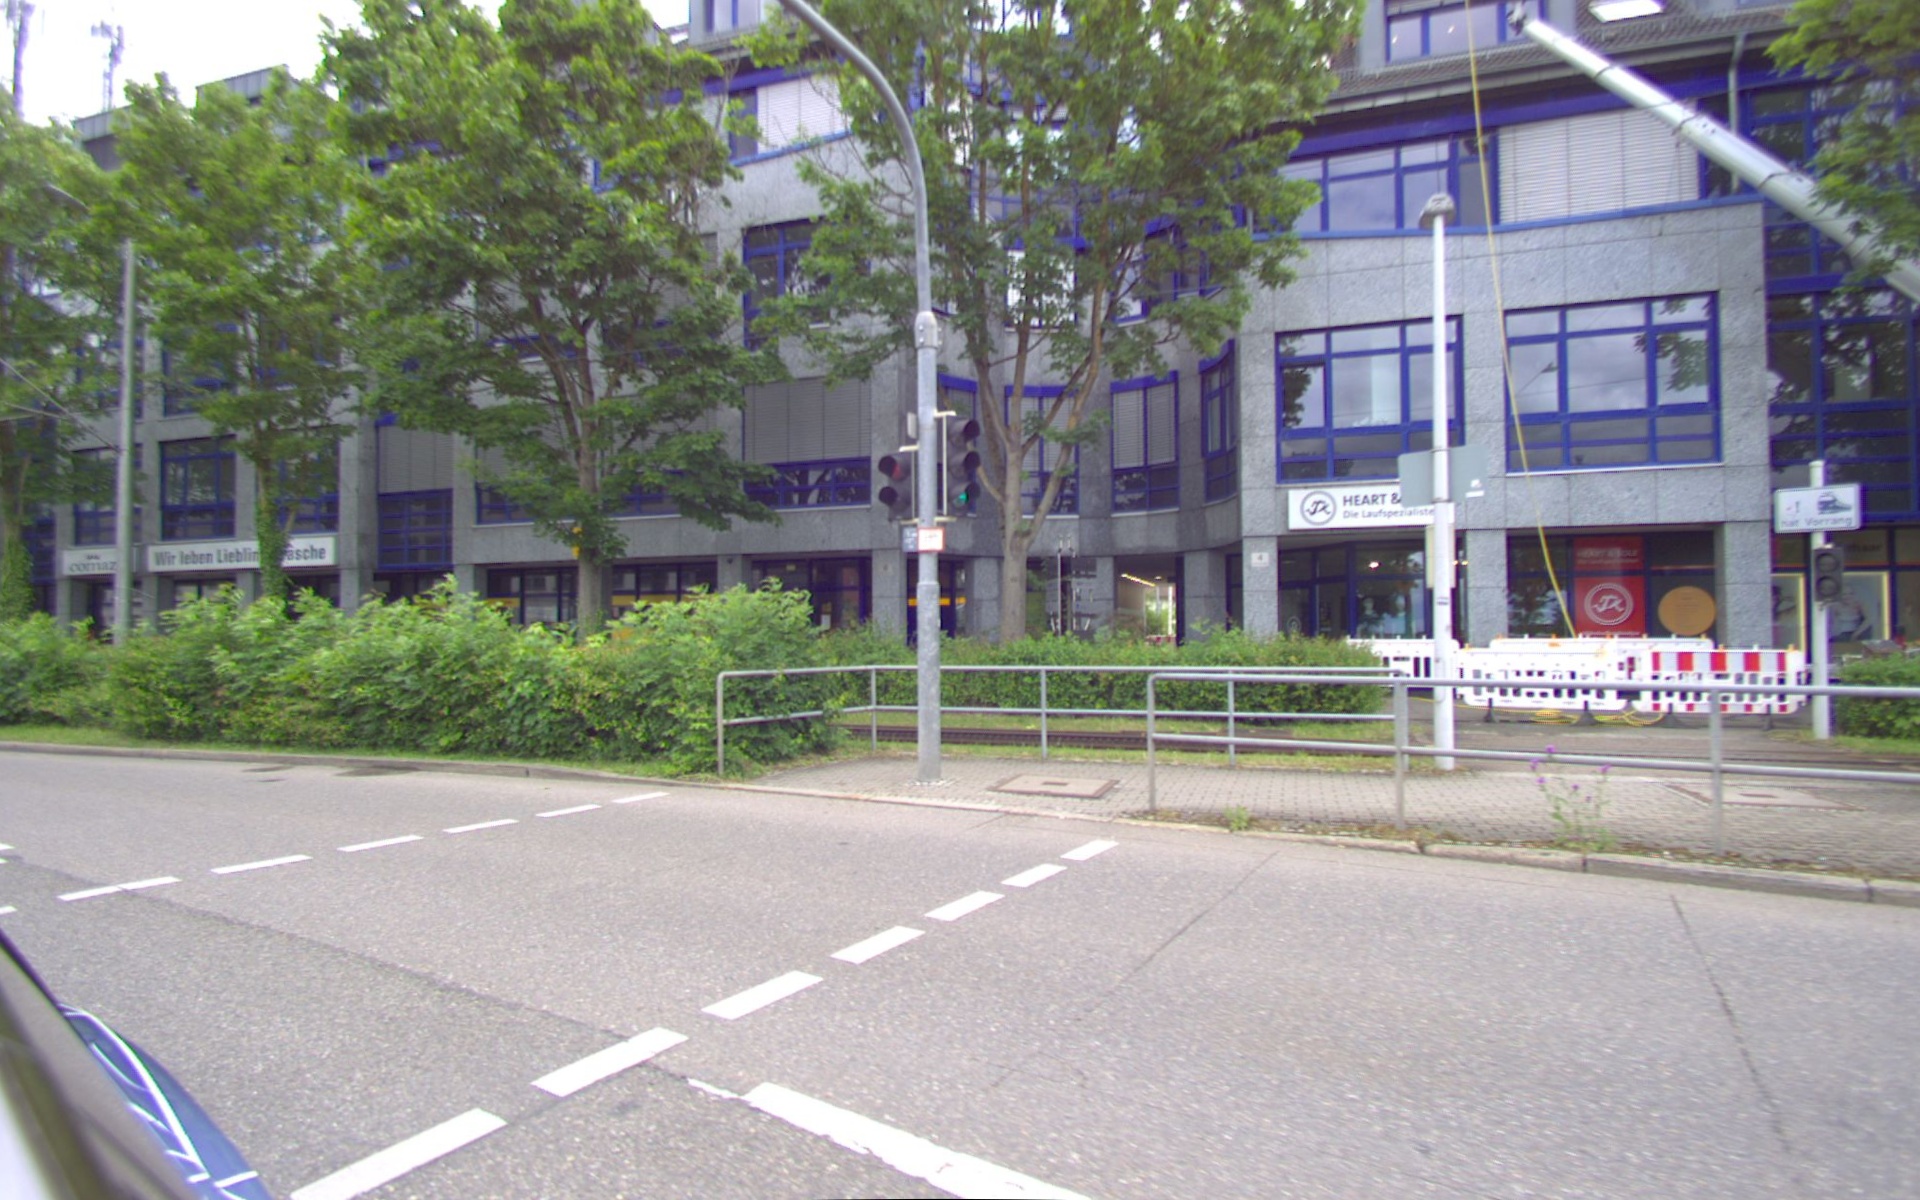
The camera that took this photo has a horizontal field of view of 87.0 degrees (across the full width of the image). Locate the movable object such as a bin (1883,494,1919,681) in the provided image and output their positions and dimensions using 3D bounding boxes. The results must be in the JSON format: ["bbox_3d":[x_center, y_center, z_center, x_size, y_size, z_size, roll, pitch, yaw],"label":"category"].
[{"bbox_3d":[14.959,-0.230,12.987,4.094,2.550,1.900,-2,0,19],"label":"movable object such as a bin"}]

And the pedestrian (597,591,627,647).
[{"bbox_3d":[-8.541,0.463,24.853,0.553,1.344,0.364,-2,1,15],"label":"pedestrian"}]
